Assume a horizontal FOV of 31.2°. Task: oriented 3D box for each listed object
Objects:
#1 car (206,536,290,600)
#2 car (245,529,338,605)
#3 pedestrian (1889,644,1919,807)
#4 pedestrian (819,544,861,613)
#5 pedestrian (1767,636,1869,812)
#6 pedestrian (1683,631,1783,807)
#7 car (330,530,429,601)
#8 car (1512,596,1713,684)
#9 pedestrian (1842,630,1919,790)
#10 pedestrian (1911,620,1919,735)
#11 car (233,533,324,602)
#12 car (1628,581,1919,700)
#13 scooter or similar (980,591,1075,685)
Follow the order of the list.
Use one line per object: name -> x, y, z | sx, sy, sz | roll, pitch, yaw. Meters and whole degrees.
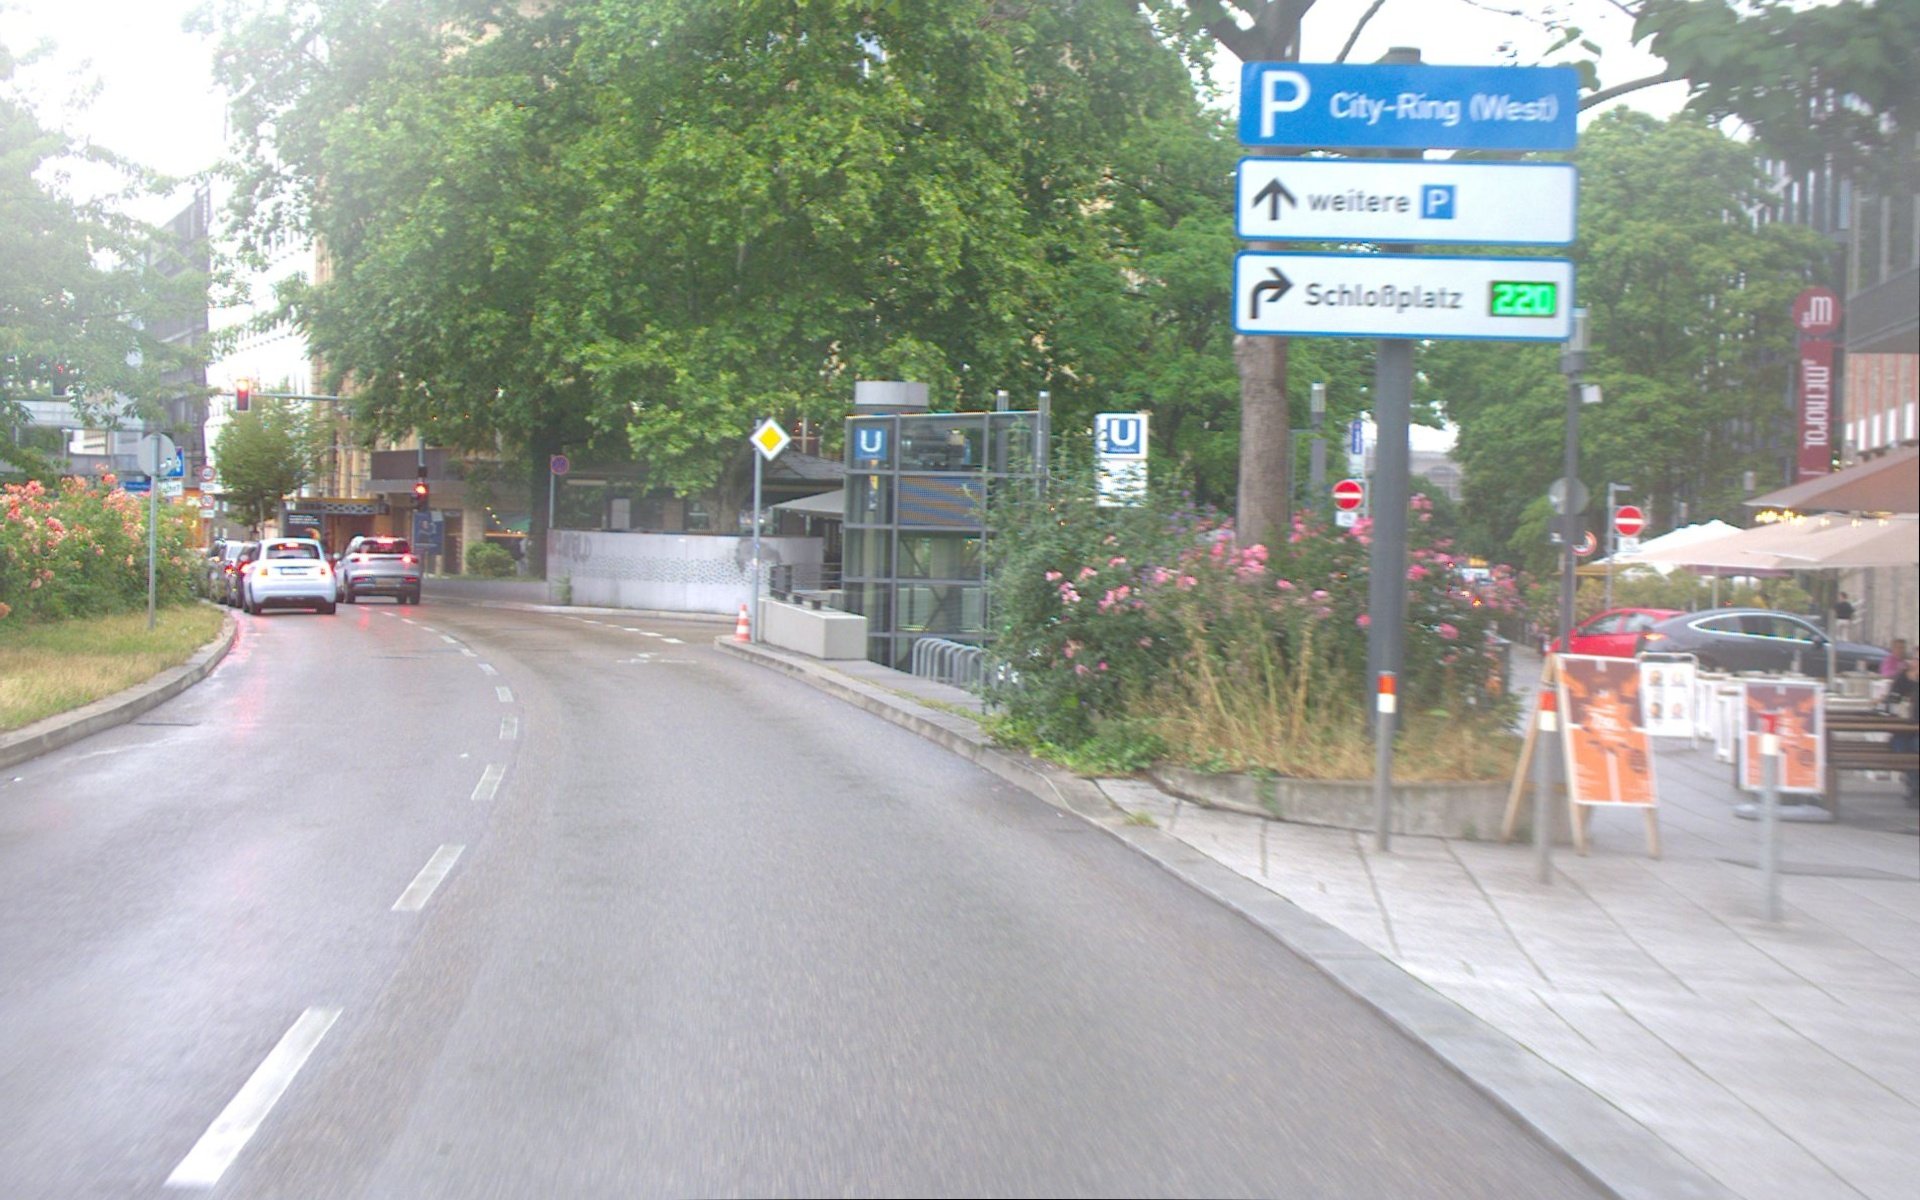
car -> -17.053, -0.787, 82.223 | 1.690, 1.458, 4.347 | -1, 1, -15
car -> -13.519, -0.691, 69.468 | 1.589, 1.486, 3.506 | -1, 1, -15
pedestrian -> 8.251, 1.064, 28.612 | 0.817, 1.322, 0.636 | 4, 0, 4
pedestrian -> -2.558, -0.458, 73.126 | 0.684, 1.405, 0.905 | 4, 0, -10
pedestrian -> 6.749, 0.972, 27.056 | 0.606, 1.322, 0.567 | 4, 0, 4
pedestrian -> 6.091, 0.930, 27.099 | 0.606, 1.322, 0.567 | 4, 0, 4
car -> -14.407, -0.860, 85.164 | 1.946, 1.660, 4.347 | 2, 0, -15
car -> 12.303, 0.739, 64.995 | 1.609, 1.411, 3.528 | 3, 1, -35
pedestrian -> 8.119, 0.950, 29.645 | 0.817, 1.322, 0.636 | 4, 0, 4
pedestrian -> 11.964, 0.952, 42.270 | 0.435, 1.399, 0.478 | 1, 0, 7
car -> -15.107, -0.740, 76.068 | 1.690, 1.458, 4.131 | -1, 1, -15
car -> 13.612, 0.659, 57.170 | 4.736, 1.685, 2.004 | 3, 1, 8
scooter or similar -> 0.866, 0.486, 44.227 | 1.112, 1.154, 0.443 | 2, 1, -10
